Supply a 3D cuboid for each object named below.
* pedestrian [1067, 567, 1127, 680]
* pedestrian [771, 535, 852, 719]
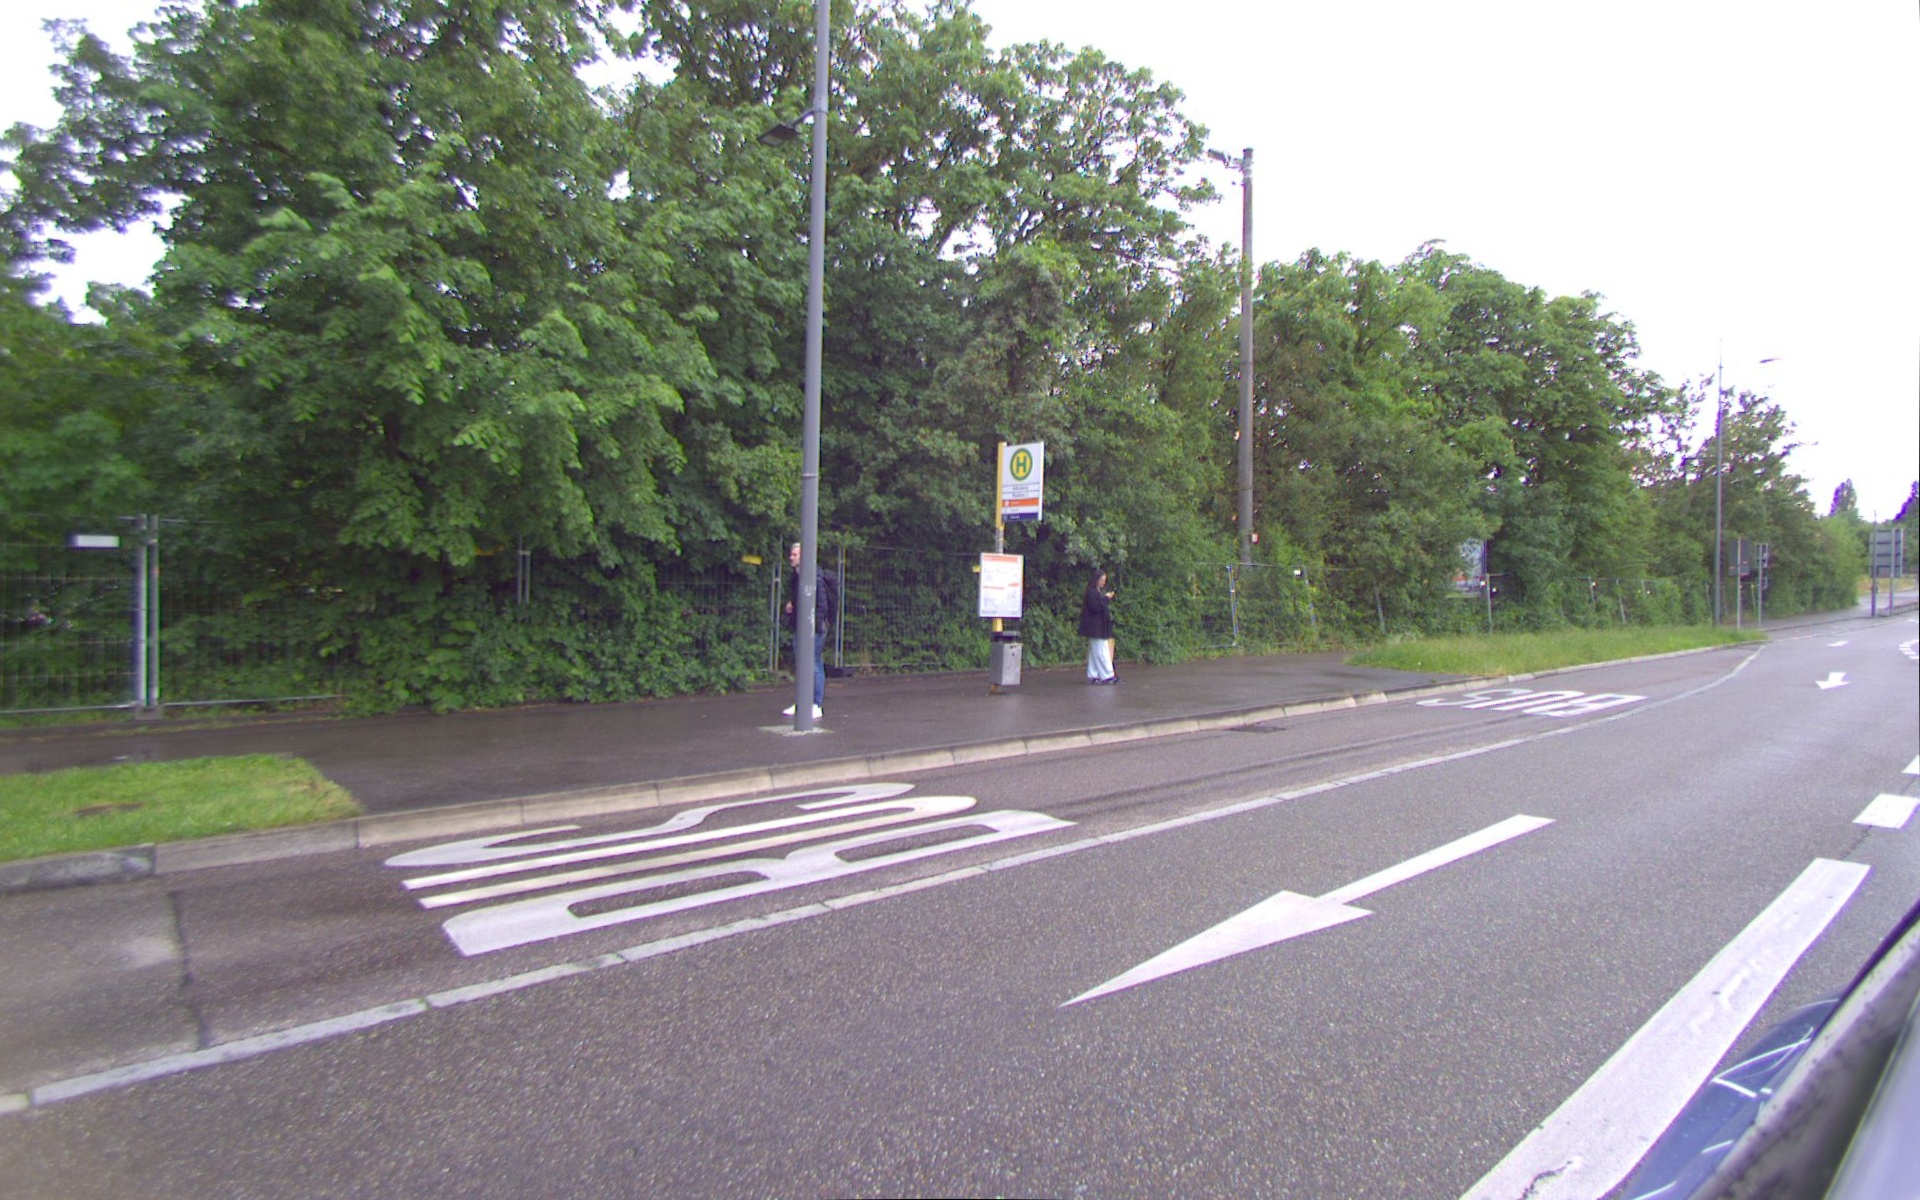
[{"bbox_3d":[2.064,0.331,15.242,0.650,1.648,0.588,0,1,-40],"label":"pedestrian"},{"bbox_3d":[-1.664,0.283,11.312,0.587,1.973,0.742,0,1,-40],"label":"pedestrian"}]
